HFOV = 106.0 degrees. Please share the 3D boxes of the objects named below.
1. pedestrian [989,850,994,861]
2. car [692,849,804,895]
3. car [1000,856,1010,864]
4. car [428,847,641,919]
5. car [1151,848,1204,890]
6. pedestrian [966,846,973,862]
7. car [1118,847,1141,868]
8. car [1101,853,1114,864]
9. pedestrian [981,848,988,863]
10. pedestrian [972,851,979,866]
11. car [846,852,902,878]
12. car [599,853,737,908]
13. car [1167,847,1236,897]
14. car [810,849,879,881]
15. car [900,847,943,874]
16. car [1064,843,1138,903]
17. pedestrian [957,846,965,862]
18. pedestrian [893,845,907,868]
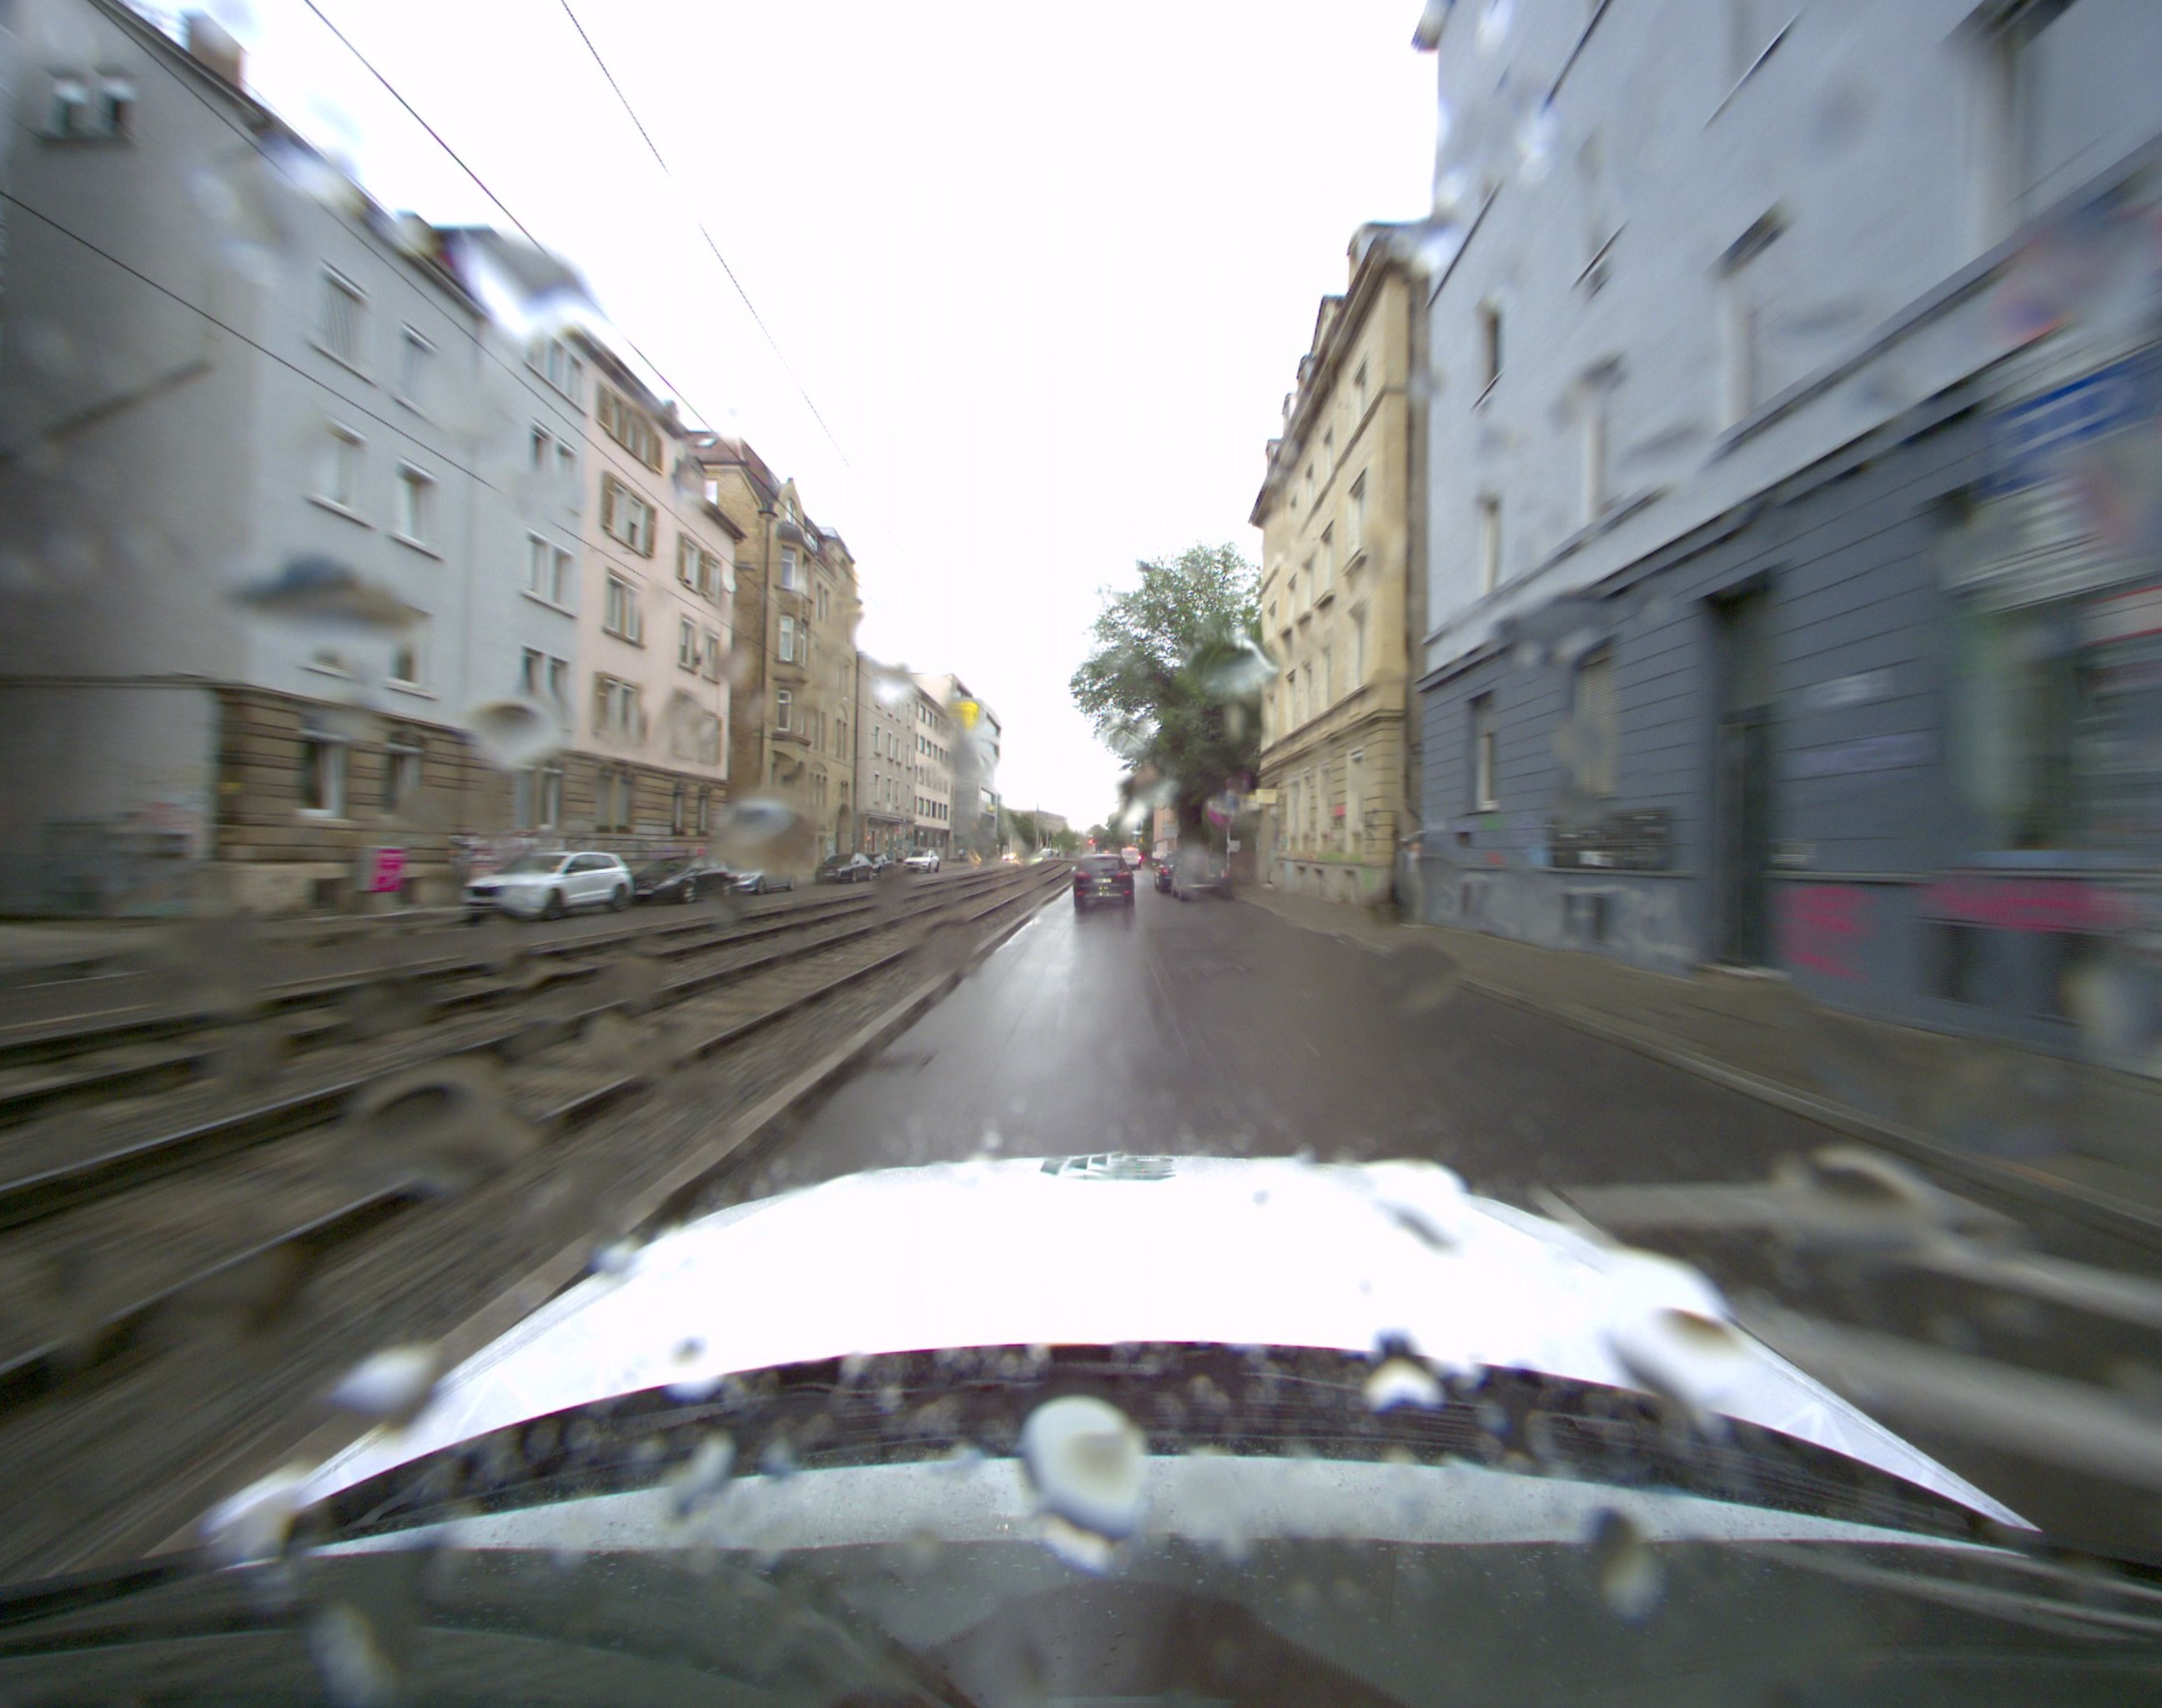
[{"bbox_3d":[-14.464,0.247,131.917,0.741,1.854,0.839,0,-2,1],"label":"pedestrian"},{"bbox_3d":[-12.337,0.643,30.569,1.986,1.519,4.994,1,-1,2],"label":"car"},{"bbox_3d":[-14.353,1.111,153.676,1.991,1.442,3.991,1,0,-6],"label":"car"},{"bbox_3d":[-12.926,0.640,19.692,1.986,1.519,4.437,1,-1,2],"label":"car"},{"bbox_3d":[3.688,0.531,31.527,1.637,1.516,4.040,1,0,1],"label":"car"},{"bbox_3d":[-12.797,-0.003,93.582,0.741,1.854,0.839,0,-2,1],"label":"pedestrian"},{"bbox_3d":[4.393,0.331,74.107,1.986,1.816,4.273,0,-1,2],"label":"car"},{"bbox_3d":[4.122,0.746,125.864,1.986,1.594,4.273,0,-1,2],"label":"car"},{"bbox_3d":[-11.811,0.209,99.924,0.741,1.854,0.839,0,-2,1],"label":"pedestrian"},{"bbox_3d":[-12.911,0.580,99.806,0.741,1.854,0.839,0,-2,1],"label":"pedestrian"},{"bbox_3d":[-11.936,0.624,47.211,1.986,1.376,4.240,1,0,2],"label":"car"},{"bbox_3d":[-12.668,0.775,25.309,1.986,1.519,4.210,1,-1,2],"label":"car"},{"bbox_3d":[3.870,0.533,26.651,1.732,1.489,4.001,1,0,1],"label":"car"},{"bbox_3d":[-11.884,0.540,41.259,1.986,1.519,4.677,1,-1,2],"label":"car"},{"bbox_3d":[-11.431,0.485,58.732,1.986,1.839,5.072,1,0,1],"label":"car"},{"bbox_3d":[0.637,0.557,24.081,1.986,1.594,4.273,0,-1,2],"label":"car"},{"bbox_3d":[-13.772,-0.005,93.494,0.741,1.854,0.839,0,-2,1],"label":"pedestrian"},{"bbox_3d":[-13.718,0.180,61.845,0.799,1.750,0.984,1,-1,1],"label":"pedestrian"}]
